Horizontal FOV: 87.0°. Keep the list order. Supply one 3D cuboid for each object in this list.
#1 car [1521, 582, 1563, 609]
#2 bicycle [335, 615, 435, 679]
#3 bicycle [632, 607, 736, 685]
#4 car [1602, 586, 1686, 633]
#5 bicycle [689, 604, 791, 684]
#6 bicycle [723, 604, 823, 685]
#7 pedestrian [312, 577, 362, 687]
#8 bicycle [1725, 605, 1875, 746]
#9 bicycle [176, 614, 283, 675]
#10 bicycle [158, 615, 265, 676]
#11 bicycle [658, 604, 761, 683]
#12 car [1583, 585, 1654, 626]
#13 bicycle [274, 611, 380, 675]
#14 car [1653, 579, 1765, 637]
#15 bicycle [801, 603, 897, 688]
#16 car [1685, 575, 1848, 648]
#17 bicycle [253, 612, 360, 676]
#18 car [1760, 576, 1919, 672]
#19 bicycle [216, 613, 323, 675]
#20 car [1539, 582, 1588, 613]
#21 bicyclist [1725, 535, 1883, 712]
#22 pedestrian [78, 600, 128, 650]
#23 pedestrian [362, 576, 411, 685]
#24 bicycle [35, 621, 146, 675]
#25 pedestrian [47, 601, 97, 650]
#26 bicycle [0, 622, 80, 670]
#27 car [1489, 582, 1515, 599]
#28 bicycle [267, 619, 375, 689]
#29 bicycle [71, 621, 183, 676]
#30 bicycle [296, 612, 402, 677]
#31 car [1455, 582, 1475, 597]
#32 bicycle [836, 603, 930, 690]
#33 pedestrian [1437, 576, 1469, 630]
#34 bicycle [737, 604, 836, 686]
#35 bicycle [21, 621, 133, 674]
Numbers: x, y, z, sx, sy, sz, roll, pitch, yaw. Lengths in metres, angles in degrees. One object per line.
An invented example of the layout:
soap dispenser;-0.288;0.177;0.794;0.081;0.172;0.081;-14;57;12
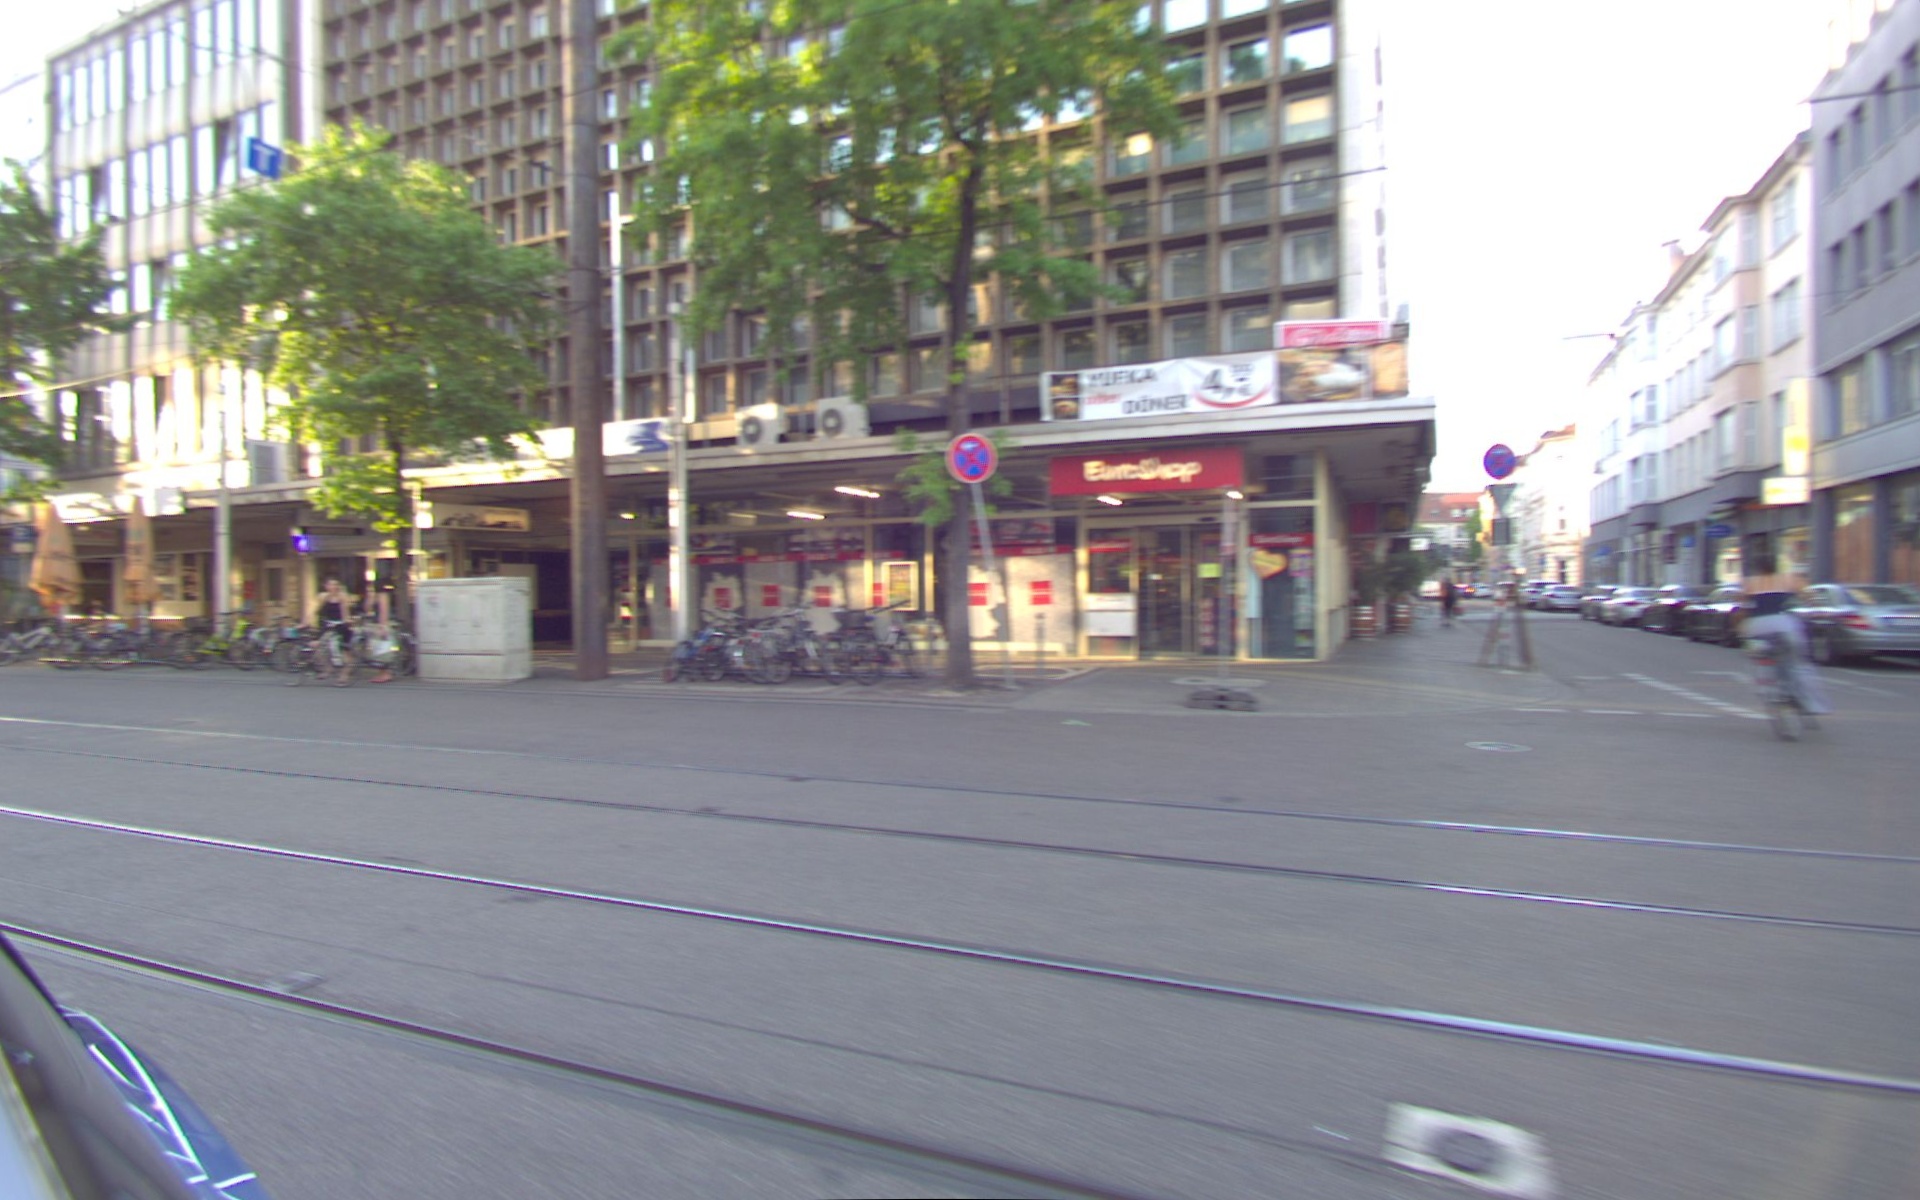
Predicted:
car;33.937;-0.281;59.062;1.790;1.521;3.966;0;1;25
bicycle;-9.873;0.805;17.378;1.765;1.053;0.486;-2;0;22
bicycle;-4.194;0.675;15.515;0.486;1.053;1.763;-2;1;24
car;23.441;0.292;34.836;1.790;1.521;3.966;0;1;25
bicycle;-3.241;0.628;15.059;0.486;1.053;1.763;-2;1;24
bicycle;-2.711;0.623;14.836;0.486;1.053;1.763;-2;1;24
pedestrian;-9.964;0.498;16.173;0.593;1.712;0.537;-2;0;-36
bicycle;7.742;0.624;9.287;2.082;1.081;0.818;-2;1;-44
bicycle;-14.727;0.871;20.451;0.485;1.079;1.767;-2;2;19
bicycle;-15.254;0.907;20.678;0.485;1.079;1.767;-2;2;19
bicycle;-3.754;0.633;15.303;0.486;1.053;1.763;-2;1;24
car;25.691;0.178;39.607;1.790;1.521;3.966;0;1;25
bicycle;-11.994;0.797;19.244;0.485;1.079;1.767;-2;2;19
car;21.056;0.179;28.618;1.790;1.521;3.966;0;1;25
bicycle;-1.539;0.612;14.281;0.486;1.053;1.763;-2;1;24
car;18.358;0.221;23.264;1.788;1.521;4.103;0;1;22
bicycle;-12.506;0.826;19.426;0.485;1.079;1.767;-2;2;19
car;16.038;0.352;17.951;1.788;1.521;4.103;0;1;22
bicycle;-13.590;0.845;19.971;0.485;1.079;1.767;-2;2;19
car;31.711;-0.147;53.269;1.790;1.521;3.966;0;1;25
bicyclist;7.758;0.194;9.309;0.844;1.513;1.001;-2;1;-43
pedestrian;-23.696;0.686;27.989;0.906;1.335;0.667;-1;3;24
pedestrian;-9.277;0.483;16.365;0.593;1.712;0.537;-2;0;-36
bicycle;-18.431;0.991;21.504;0.485;0.997;1.767;-2;1;19
pedestrian;-24.849;0.706;28.316;0.906;1.335;0.667;-1;3;24
bicycle;-21.149;1.035;22.913;0.489;0.973;1.753;1;3;41
car;48.373;-0.846;90.335;1.790;1.521;3.966;0;1;25
bicycle;-10.099;0.850;15.987;1.765;1.053;0.486;-2;0;22
bicycle;-17.164;0.980;20.900;0.485;0.997;1.767;-2;1;19
bicycle;-11.410;0.811;18.960;0.485;1.079;1.767;-2;2;19
car;52.773;-1.146;105.829;1.790;1.521;3.966;0;1;25
bicycle;-1.032;0.608;14.003;0.486;1.053;1.763;-2;1;24
pedestrian;15.589;0.089;31.979;0.867;1.674;0.922;-2;0;27
bicycle;-2.494;0.621;14.730;0.486;1.053;1.763;-2;1;24
bicycle;-18.910;0.996;21.719;0.485;0.997;1.767;-2;1;19
